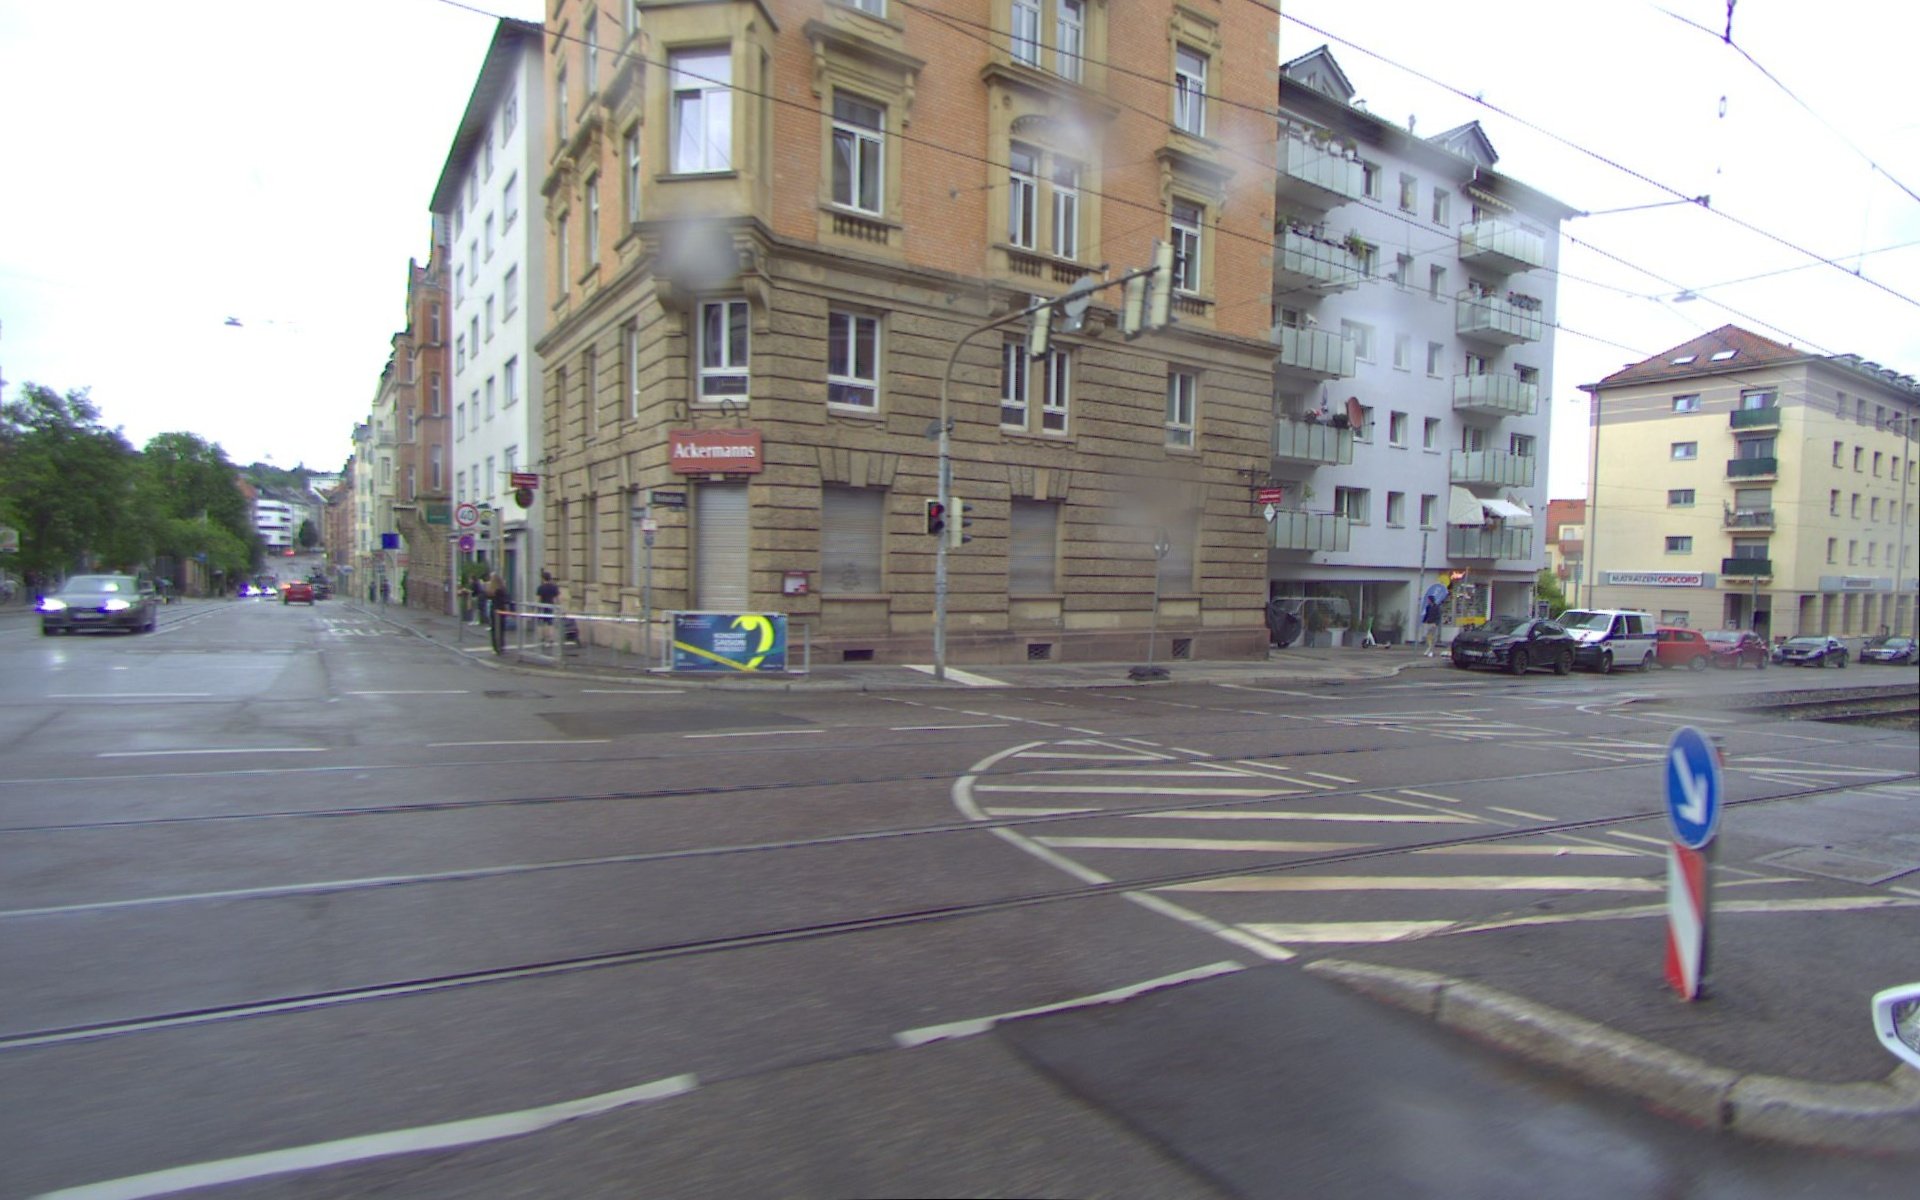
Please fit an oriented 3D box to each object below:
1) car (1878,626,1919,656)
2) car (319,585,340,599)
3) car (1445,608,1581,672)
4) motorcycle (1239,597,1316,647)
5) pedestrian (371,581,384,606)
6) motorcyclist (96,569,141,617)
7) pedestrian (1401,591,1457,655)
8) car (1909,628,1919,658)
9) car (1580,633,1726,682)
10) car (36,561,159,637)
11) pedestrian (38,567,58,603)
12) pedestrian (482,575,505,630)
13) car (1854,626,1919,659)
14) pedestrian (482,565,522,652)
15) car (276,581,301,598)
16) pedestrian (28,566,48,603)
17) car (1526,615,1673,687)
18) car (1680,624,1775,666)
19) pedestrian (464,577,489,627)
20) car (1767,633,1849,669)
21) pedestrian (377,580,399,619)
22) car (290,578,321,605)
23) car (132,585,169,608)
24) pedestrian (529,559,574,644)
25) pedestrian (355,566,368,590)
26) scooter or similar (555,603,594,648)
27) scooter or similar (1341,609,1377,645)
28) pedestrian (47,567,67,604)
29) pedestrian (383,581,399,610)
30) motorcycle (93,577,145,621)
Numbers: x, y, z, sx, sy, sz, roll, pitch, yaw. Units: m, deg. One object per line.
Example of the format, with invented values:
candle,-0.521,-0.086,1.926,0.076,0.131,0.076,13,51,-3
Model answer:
car,52.384,2.268,55.139,4.783,1.451,1.839,2,1,-35
car,-65.672,-0.846,104.584,1.620,1.309,3.980,2,1,-35
car,16.134,1.163,29.241,4.320,1.673,1.721,2,1,-35
motorcycle,9.772,0.689,30.865,2.286,1.394,0.923,2,5,-35
pedestrian,-45.752,-0.508,78.862,0.806,1.861,0.762,2,0,-35
motorcyclist,-23.978,-0.214,28.634,0.833,1.320,0.807,2,0,-33
pedestrian,14.770,0.717,31.608,1.169,1.955,1.161,2,1,-42
car,57.177,2.572,58.463,4.414,1.740,1.855,2,0,-34
car,24.626,2.014,35.799,3.904,1.453,1.785,3,1,0
car,-21.060,-0.016,24.681,1.823,1.687,3.961,2,-1,-34
pedestrian,-42.543,-0.712,46.868,0.567,1.651,0.482,2,1,-34
pedestrian,-14.459,0.074,31.140,0.588,1.690,0.598,2,0,-24
car,47.741,2.181,51.739,4.951,1.528,1.836,3,0,-40
pedestrian,-9.704,0.169,21.289,0.633,1.791,0.622,-2,2,-33
car,-60.345,-0.933,90.331,1.618,1.309,3.966,2,1,-31
pedestrian,-41.816,-0.690,45.569,0.569,1.651,0.568,2,1,-35
car,20.954,1.626,32.842,5.248,2.036,2.056,2,3,-35
car,29.719,1.740,38.863,4.030,1.471,1.644,2,0,-33
pedestrian,-16.749,0.065,34.767,0.660,1.692,0.826,2,1,-30
car,37.154,2.223,43.961,4.578,1.414,1.668,2,0,-36
pedestrian,-27.904,-0.013,49.017,0.806,1.861,0.762,2,0,-35
car,-44.570,-0.591,68.342,1.620,1.603,3.960,2,2,-35
car,-61.422,-0.283,76.244,1.799,1.610,3.962,2,0,-34
pedestrian,-9.210,0.033,22.660,0.615,1.864,0.640,2,0,23
pedestrian,-48.096,-1.755,80.751,0.806,1.861,0.762,2,0,-35
scooter or similar,-8.575,0.557,22.341,0.545,0.957,0.577,2,0,26
scooter or similar,13.627,0.938,34.311,0.314,1.225,1.078,2,-3,-44
pedestrian,-41.546,-0.677,46.231,0.593,1.651,0.568,2,1,-35
pedestrian,-37.292,-0.308,65.778,0.806,1.861,0.762,2,0,-35
motorcycle,-23.978,-0.031,28.664,0.857,1.174,1.835,2,0,-32
